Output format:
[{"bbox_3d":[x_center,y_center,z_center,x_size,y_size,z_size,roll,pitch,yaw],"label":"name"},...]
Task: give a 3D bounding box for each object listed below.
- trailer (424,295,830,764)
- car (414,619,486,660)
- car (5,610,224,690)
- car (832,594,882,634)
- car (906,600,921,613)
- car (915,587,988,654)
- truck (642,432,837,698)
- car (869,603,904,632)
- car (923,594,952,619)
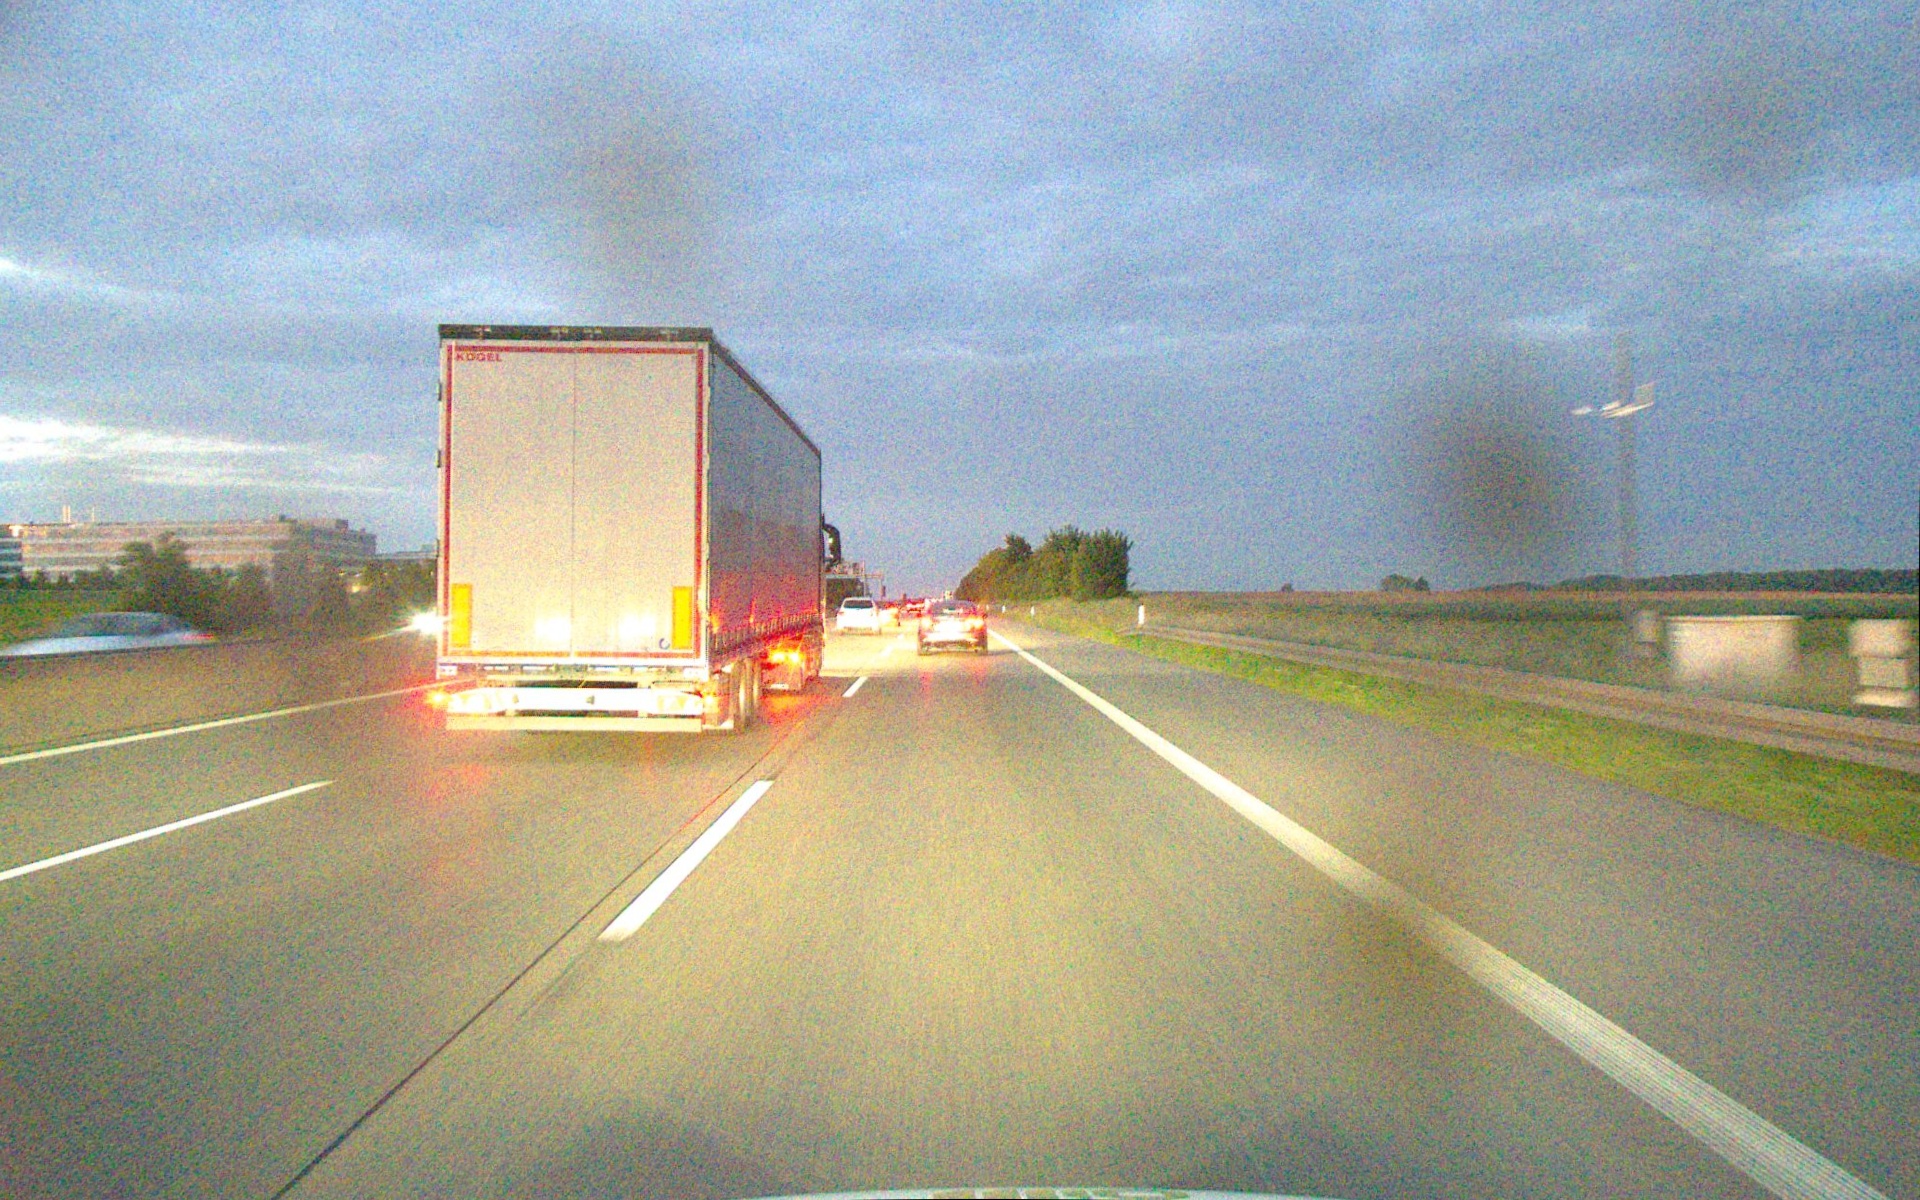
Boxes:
[{"bbox_3d":[-3.536,-0.568,21.986,2.737,4.157,14.521,0,-1,-1],"label":"trailer"},{"bbox_3d":[-24.163,1.838,78.531,1.953,1.879,4.956,1,-1,-1],"label":"car"},{"bbox_3d":[-15.355,0.870,30.334,1.637,1.323,4.704,1,-1,-1],"label":"car"},{"bbox_3d":[-4.149,0.575,67.195,1.708,1.551,4.413,1,-1,0],"label":"car"},{"bbox_3d":[-5.866,0.787,207.125,1.842,1.579,3.999,1,-1,-1],"label":"car"},{"bbox_3d":[-0.240,0.547,44.067,1.842,1.672,3.999,1,-1,-1],"label":"car"},{"bbox_3d":[-3.693,-0.525,29.069,2.721,4.164,6.101,0,-1,-1],"label":"truck"},{"bbox_3d":[-3.916,0.938,88.465,1.688,1.497,4.725,1,-1,-1],"label":"car"},{"bbox_3d":[-1.470,0.445,106.813,1.842,1.579,3.999,1,-1,-1],"label":"car"}]
